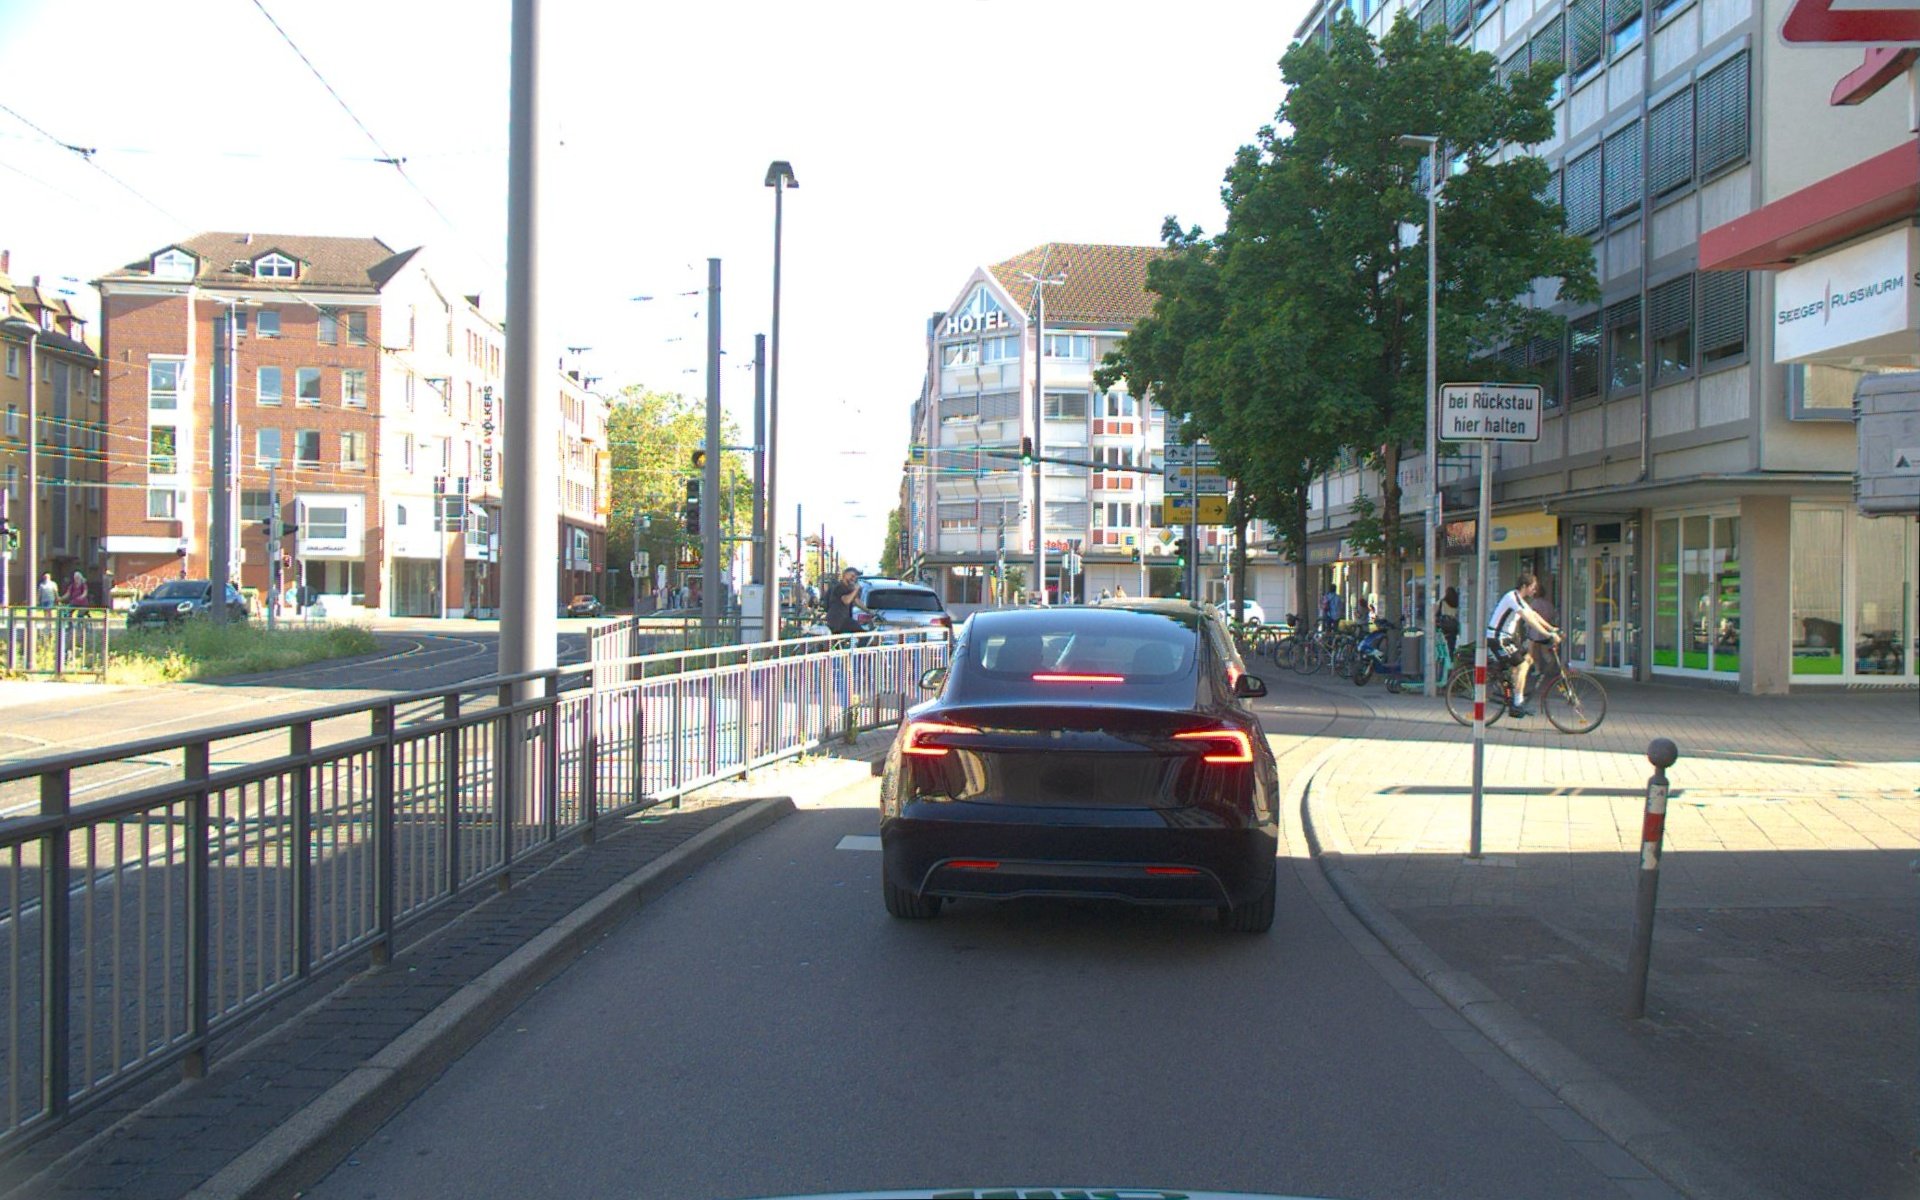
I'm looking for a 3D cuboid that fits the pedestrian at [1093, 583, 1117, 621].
[{"bbox_3d":[6.376,0.090,72.757,0.766,1.604,0.864,1,1,-16],"label":"pedestrian"}]

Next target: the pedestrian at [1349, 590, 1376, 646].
[{"bbox_3d":[10.645,0.481,43.726,0.631,1.447,0.621,1,-1,10],"label":"pedestrian"}]

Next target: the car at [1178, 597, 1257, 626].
[{"bbox_3d":[13.492,0.617,86.659,3.766,1.457,1.801,1,-2,-6],"label":"car"}]

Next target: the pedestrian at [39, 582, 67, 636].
[{"bbox_3d":[-29.414,0.283,53.638,0.613,1.717,0.703,1,1,-13],"label":"pedestrian"}]

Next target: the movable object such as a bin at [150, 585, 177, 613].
[{"bbox_3d":[-41.507,-0.052,86.189,0.978,1.462,1.093,1,0,-10],"label":"movable object such as a bin"}]

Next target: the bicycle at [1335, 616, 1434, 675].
[{"bbox_3d":[8.066,0.852,31.426,1.817,1.074,0.398,-1,0,-12],"label":"bicycle"}]

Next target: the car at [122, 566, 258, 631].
[{"bbox_3d":[-20.112,-0.028,43.387,1.650,1.588,4.121,1,0,-1],"label":"car"}]

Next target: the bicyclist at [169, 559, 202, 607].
[{"bbox_3d":[-23.970,-0.528,51.185,0.650,1.479,0.730,1,-1,0],"label":"bicyclist"}]

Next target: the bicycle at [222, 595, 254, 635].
[{"bbox_3d":[-23.730,0.486,54.398,0.563,1.313,2.020,1,0,-13],"label":"bicycle"}]

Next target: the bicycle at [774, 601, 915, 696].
[{"bbox_3d":[-1.543,0.641,22.249,1.802,1.233,0.635,1,-1,-32],"label":"bicycle"}]

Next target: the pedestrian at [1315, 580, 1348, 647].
[{"bbox_3d":[9.900,0.350,44.060,0.825,1.751,0.880,1,-1,12],"label":"pedestrian"}]

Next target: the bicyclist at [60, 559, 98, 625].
[{"bbox_3d":[-22.783,-0.206,42.783,0.510,1.702,0.770,1,-1,0],"label":"bicyclist"}]

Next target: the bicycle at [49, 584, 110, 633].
[{"bbox_3d":[-22.799,0.214,42.854,0.519,1.235,1.885,1,0,1],"label":"bicycle"}]

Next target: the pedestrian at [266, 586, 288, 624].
[{"bbox_3d":[-32.262,0.230,78.104,0.682,1.740,0.929,1,-1,-7],"label":"pedestrian"}]

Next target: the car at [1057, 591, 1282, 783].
[{"bbox_3d":[1.792,0.667,15.215,1.727,1.469,4.531,1,0,4],"label":"car"}]

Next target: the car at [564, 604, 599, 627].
[{"bbox_3d":[-24.993,1.002,109.247,1.782,1.479,3.972,-1,0,-6],"label":"car"}]

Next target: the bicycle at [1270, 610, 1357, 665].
[{"bbox_3d":[7.560,0.792,35.425,1.774,1.172,0.435,0,0,-5],"label":"bicycle"}]

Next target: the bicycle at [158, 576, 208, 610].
[{"bbox_3d":[-23.994,-0.212,51.107,0.636,1.031,1.885,1,0,1],"label":"bicycle"}]

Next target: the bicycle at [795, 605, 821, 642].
[{"bbox_3d":[-5.283,0.794,57.448,0.616,1.245,2.034,1,0,-13],"label":"bicycle"}]

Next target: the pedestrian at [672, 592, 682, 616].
[{"bbox_3d":[-18.618,0.287,108.843,0.574,1.557,0.634,1,-1,-18],"label":"pedestrian"}]

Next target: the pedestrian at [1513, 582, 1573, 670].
[{"bbox_3d":[11.121,0.494,31.577,0.826,1.630,0.880,1,-1,-1],"label":"pedestrian"}]

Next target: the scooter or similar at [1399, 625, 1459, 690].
[{"bbox_3d":[7.717,0.939,27.202,0.936,1.057,0.160,0,0,2],"label":"scooter or similar"}]

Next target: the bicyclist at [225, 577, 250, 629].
[{"bbox_3d":[-23.713,0.103,54.278,0.578,1.678,0.803,1,-1,-15],"label":"bicyclist"}]

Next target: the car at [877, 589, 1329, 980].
[{"bbox_3d":[0.656,0.713,8.499,1.753,1.476,3.941,1,1,3],"label":"car"}]

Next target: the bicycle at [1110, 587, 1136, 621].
[{"bbox_3d":[7.214,0.159,73.349,0.573,1.489,1.679,0,0,-16],"label":"bicycle"}]

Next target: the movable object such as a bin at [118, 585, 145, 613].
[{"bbox_3d":[-42.987,-0.057,85.842,0.978,1.462,1.093,1,0,-10],"label":"movable object such as a bin"}]

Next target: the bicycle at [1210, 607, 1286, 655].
[{"bbox_3d":[7.393,0.789,42.527,1.851,1.177,0.480,-1,-1,0],"label":"bicycle"}]

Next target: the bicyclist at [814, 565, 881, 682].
[{"bbox_3d":[-1.512,0.316,22.268,0.674,1.550,0.628,1,-1,-32],"label":"bicyclist"}]

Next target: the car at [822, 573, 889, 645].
[{"bbox_3d":[-2.556,0.219,40.794,1.541,1.646,3.781,1,0,-3],"label":"car"}]

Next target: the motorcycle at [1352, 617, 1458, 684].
[{"bbox_3d":[7.894,0.891,29.357,1.751,1.149,0.504,1,-1,-3],"label":"motorcycle"}]

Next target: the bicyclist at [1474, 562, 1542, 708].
[{"bbox_3d":[6.362,0.395,19.198,0.667,1.659,0.578,1,-1,26],"label":"bicyclist"}]

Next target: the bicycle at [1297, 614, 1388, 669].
[{"bbox_3d":[7.731,0.830,33.439,1.730,1.075,0.458,1,-1,4],"label":"bicycle"}]

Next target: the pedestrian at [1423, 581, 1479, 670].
[{"bbox_3d":[9.801,0.498,33.038,0.826,1.737,0.880,1,-1,-1],"label":"pedestrian"}]

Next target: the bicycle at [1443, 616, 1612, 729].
[{"bbox_3d":[6.551,0.818,19.099,1.784,1.233,0.582,1,-1,26],"label":"bicycle"}]

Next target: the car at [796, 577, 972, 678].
[{"bbox_3d":[-1.387,0.456,29.030,1.818,1.663,3.455,1,0,-27],"label":"car"}]

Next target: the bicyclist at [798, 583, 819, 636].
[{"bbox_3d":[-5.252,0.329,57.344,0.602,1.803,0.827,1,-1,-13],"label":"bicyclist"}]

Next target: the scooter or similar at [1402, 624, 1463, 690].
[{"bbox_3d":[7.712,0.925,27.004,0.943,1.061,0.160,0,0,2],"label":"scooter or similar"}]
